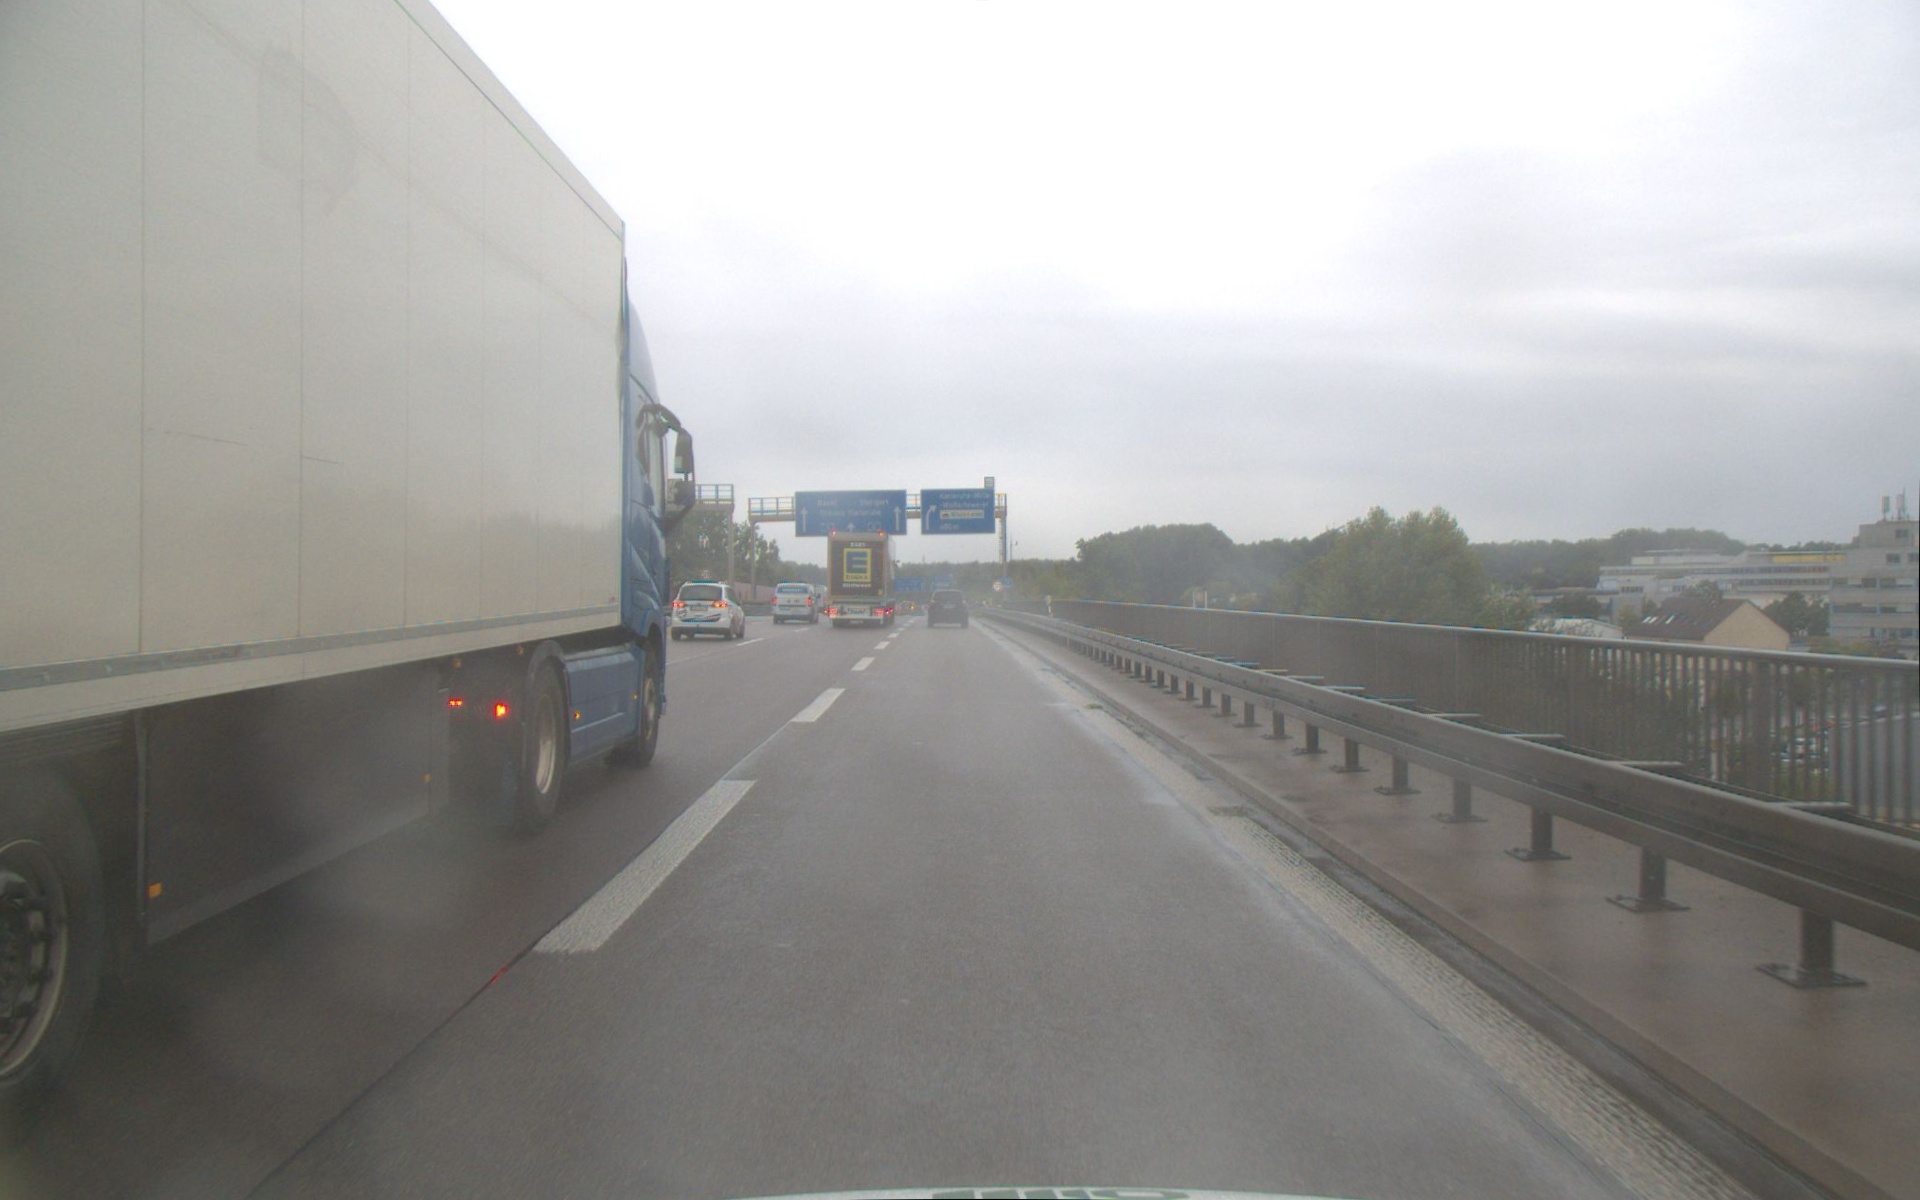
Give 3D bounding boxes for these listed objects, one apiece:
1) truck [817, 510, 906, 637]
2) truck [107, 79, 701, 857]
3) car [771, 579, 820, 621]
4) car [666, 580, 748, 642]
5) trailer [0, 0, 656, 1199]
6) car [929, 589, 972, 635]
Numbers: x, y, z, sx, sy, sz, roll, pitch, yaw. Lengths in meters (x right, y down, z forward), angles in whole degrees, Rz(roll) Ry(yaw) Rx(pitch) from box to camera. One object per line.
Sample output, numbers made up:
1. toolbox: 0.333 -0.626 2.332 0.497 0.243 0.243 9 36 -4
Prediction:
1. truck: -4.317 -1.080 74.536 3.462 5.274 9.890 1 -1 -1
2. truck: -3.523 -0.747 12.192 2.295 4.230 6.345 0 0 -1
3. car: -8.019 0.011 80.749 2.007 1.983 3.999 1 -1 -1
4. car: -7.486 0.327 49.267 1.855 1.754 3.999 1 0 -1
5. trailer: -3.384 -0.680 5.254 2.295 4.230 14.824 0 0 -1
6. car: -0.413 0.527 74.807 1.858 1.983 4.000 1 -1 0
